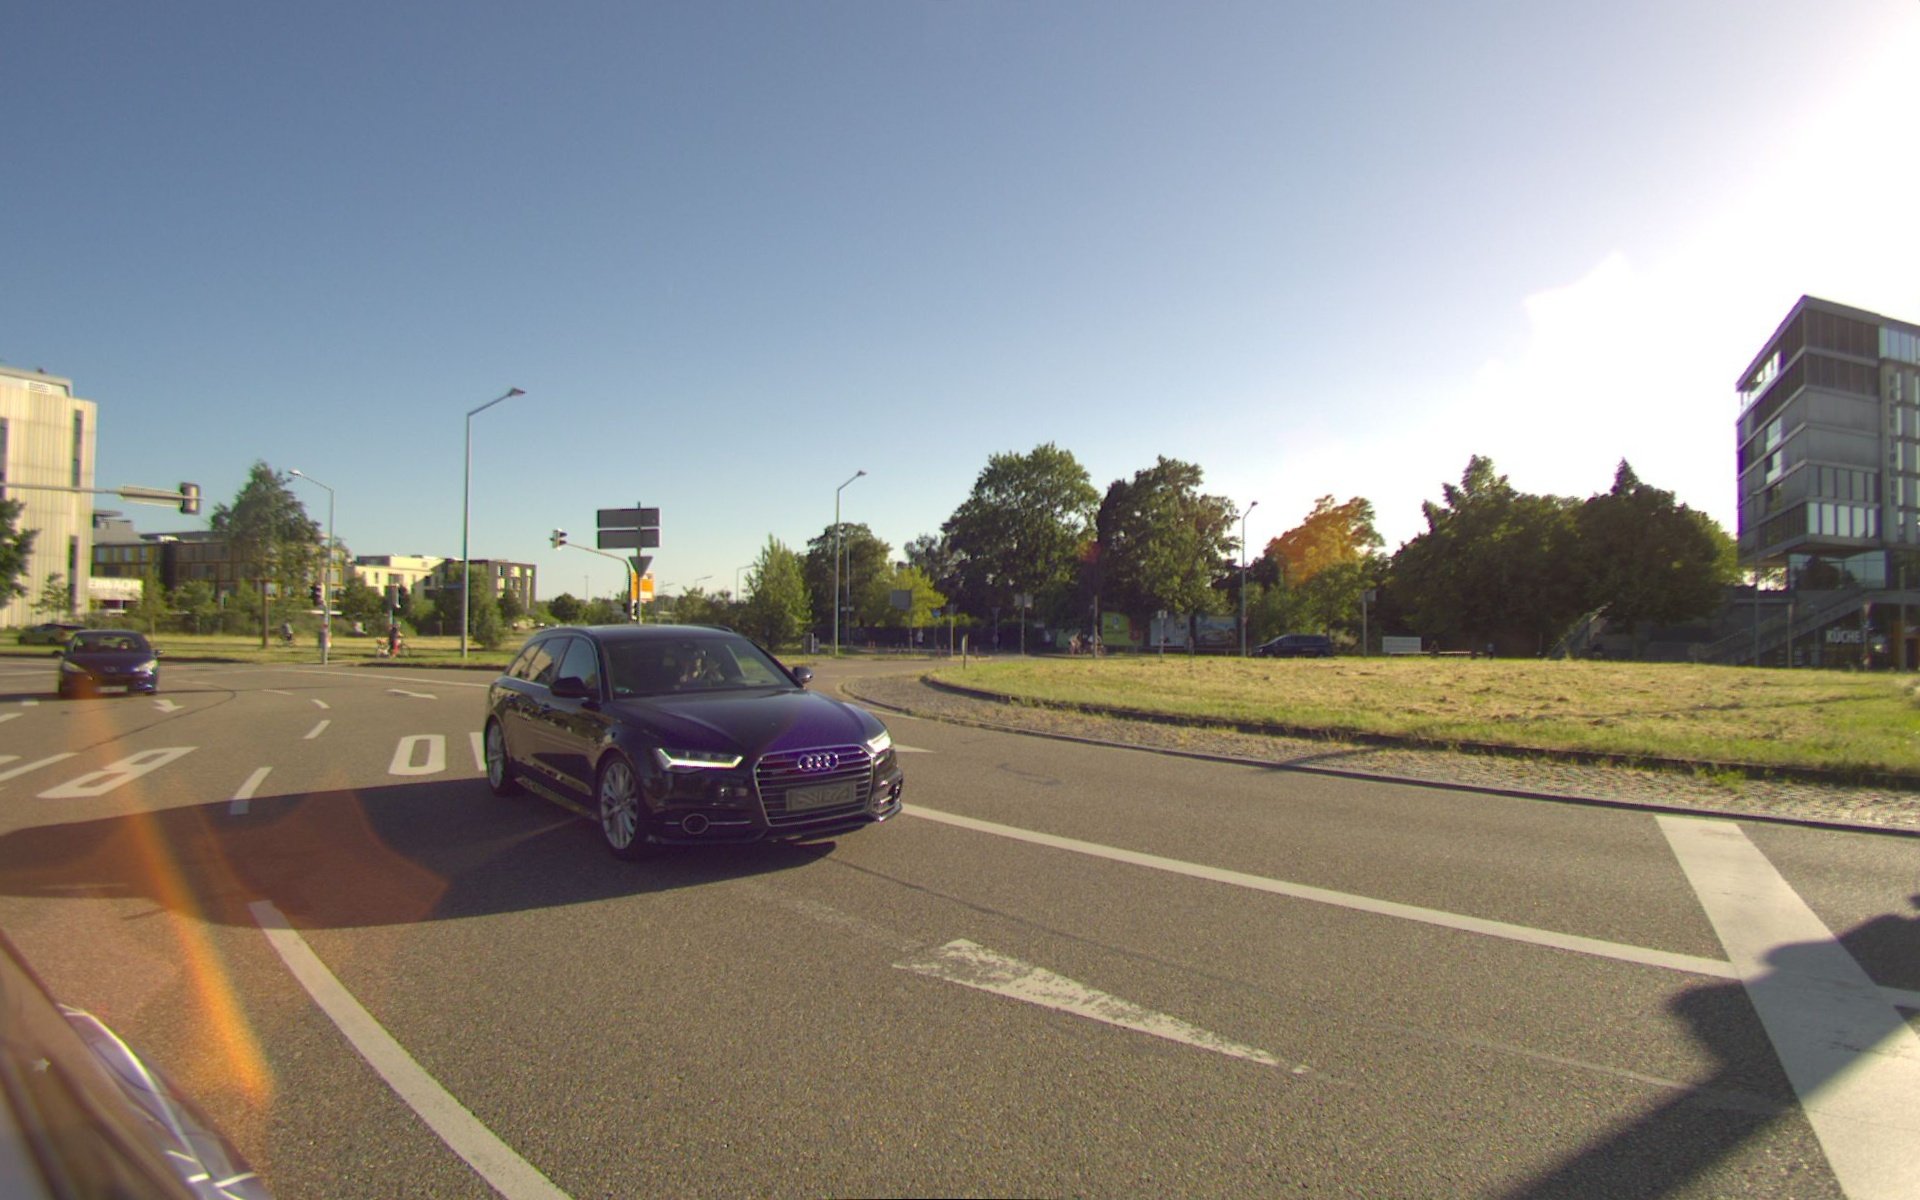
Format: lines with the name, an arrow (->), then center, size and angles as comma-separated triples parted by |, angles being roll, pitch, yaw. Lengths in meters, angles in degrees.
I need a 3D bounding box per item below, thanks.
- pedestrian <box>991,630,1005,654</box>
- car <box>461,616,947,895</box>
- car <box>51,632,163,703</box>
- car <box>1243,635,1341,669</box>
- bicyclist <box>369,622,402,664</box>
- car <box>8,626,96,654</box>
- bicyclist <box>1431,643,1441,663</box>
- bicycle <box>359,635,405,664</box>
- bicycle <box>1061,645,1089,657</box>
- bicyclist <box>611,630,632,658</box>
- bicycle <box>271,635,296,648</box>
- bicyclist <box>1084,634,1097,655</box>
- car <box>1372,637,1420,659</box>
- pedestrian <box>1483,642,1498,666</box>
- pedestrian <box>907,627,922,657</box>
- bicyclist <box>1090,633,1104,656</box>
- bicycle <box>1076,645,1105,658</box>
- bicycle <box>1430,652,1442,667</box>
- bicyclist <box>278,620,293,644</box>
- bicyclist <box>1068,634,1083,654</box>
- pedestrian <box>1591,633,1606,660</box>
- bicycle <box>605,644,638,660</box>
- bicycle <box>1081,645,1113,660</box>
pedestrian -> 3.304, 3.703, 89.066 | 0.886, 2.029, 0.821 | 2, -2, -28
car -> -2.315, 0.884, 7.820 | 1.769, 1.454, 5.027 | 1, -2, -38
car -> -19.641, 1.477, 23.251 | 1.732, 1.465, 4.003 | 0, -2, -44
car -> 18.758, 2.901, 57.367 | 4.960, 1.798, 2.454 | 0, -2, 11
bicyclist -> -23.393, 1.723, 41.242 | 0.696, 1.676, 0.940 | 1, -1, 10
car -> -51.777, 2.273, 57.692 | 4.294, 1.553, 1.995 | 0, -2, 21
bicyclist -> 35.224, 3.907, 74.857 | 0.582, 1.479, 0.751 | 1, -2, 21
bicycle -> -23.421, 1.990, 41.037 | 0.696, 1.137, 1.650 | 1, -1, 9
bicycle -> 7.966, 3.531, 70.069 | 1.856, 0.859, 0.619 | 1, -2, -18
bicyclist -> -18.598, 2.389, 55.572 | 0.614, 1.528, 0.917 | -1, -2, 25
bicycle -> -45.068, 2.753, 67.415 | 1.877, 0.859, 0.487 | -1, -2, 24
bicyclist -> 8.953, 3.053, 69.536 | 0.707, 1.403, 0.619 | 1, -2, -19
car -> 37.666, 4.163, 87.524 | 3.719, 1.819, 1.825 | 0, -2, 23
pedestrian -> 36.737, 3.719, 70.120 | 0.755, 1.642, 0.879 | 0, -2, 20
pedestrian -> -3.053, 2.829, 68.192 | 0.928, 2.021, 0.590 | 1, -2, -13
bicyclist -> 9.866, 3.205, 72.723 | 0.821, 1.592, 0.664 | 1, -2, -9
bicycle -> 8.973, 3.551, 69.517 | 1.856, 0.859, 0.619 | 1, -2, -18
bicycle -> 35.203, 4.406, 74.850 | 0.582, 1.019, 1.857 | 1, -2, 21
bicyclist -> -44.896, 2.113, 67.371 | 0.846, 1.576, 0.429 | -1, -2, 24
bicyclist -> 8.008, 3.033, 70.091 | 0.823, 1.403, 0.619 | 1, -2, -19
pedestrian -> 49.350, 3.572, 78.250 | 0.630, 2.029, 0.835 | 3, -2, -43
bicycle -> -18.583, 2.858, 55.604 | 0.614, 0.859, 1.873 | -1, -2, 25
bicycle -> 9.844, 3.767, 72.722 | 2.226, 0.995, 0.664 | 1, -2, -8
